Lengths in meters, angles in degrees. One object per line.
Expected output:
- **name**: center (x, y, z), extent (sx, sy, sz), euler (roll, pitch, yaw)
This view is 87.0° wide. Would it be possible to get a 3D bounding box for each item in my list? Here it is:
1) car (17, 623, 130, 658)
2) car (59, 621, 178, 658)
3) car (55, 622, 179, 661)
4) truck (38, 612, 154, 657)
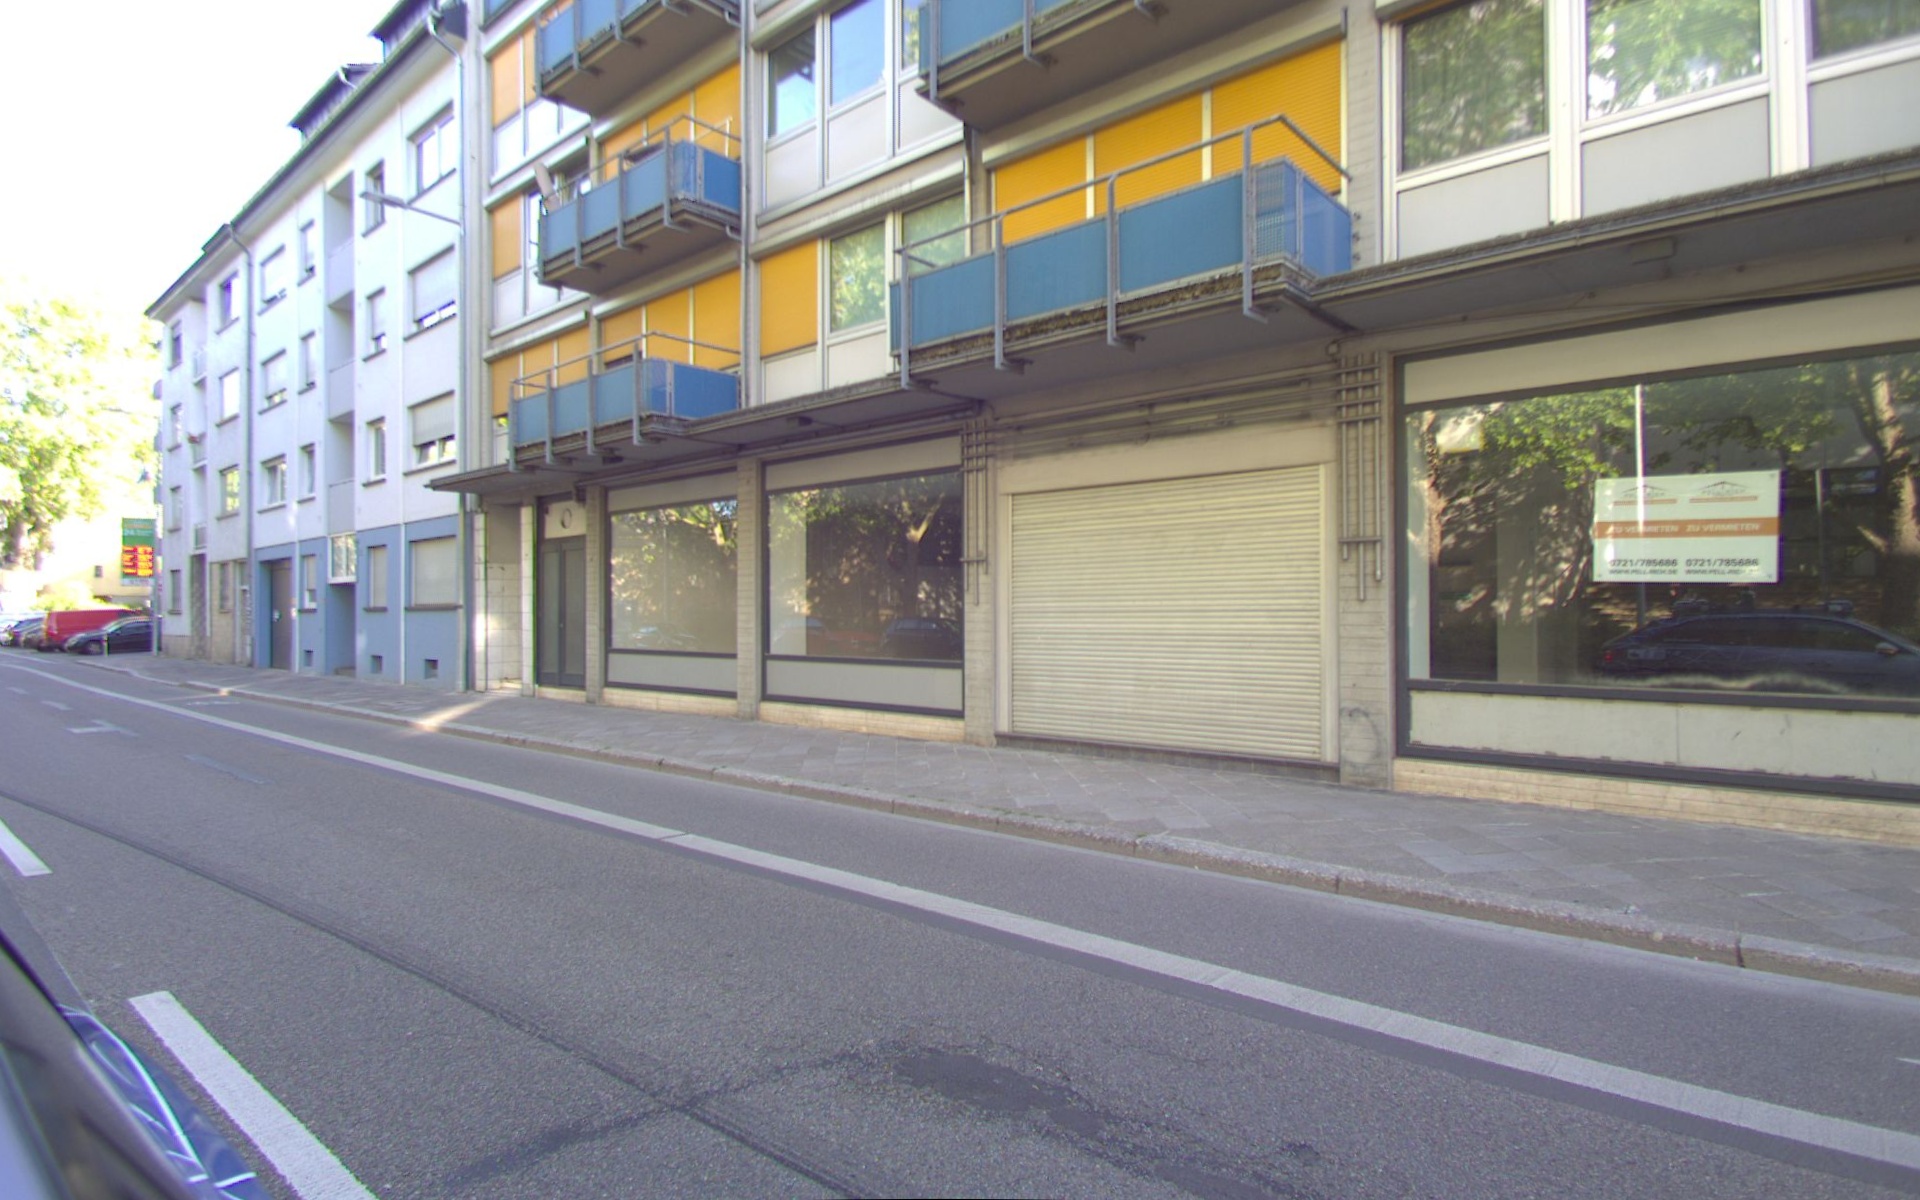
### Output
- **car**: center (-42.908, 1.906, 49.037), extent (1.761, 1.514, 3.944), euler (-1, 0, 42)
- **car**: center (-38.107, 1.761, 45.898), extent (1.761, 1.514, 3.944), euler (-1, 0, 42)
- **car**: center (-36.627, 1.764, 44.011), extent (1.761, 1.468, 3.944), euler (-1, 0, 42)
- **truck**: center (-40.498, 1.573, 47.490), extent (1.761, 1.951, 3.944), euler (-1, 0, 42)
